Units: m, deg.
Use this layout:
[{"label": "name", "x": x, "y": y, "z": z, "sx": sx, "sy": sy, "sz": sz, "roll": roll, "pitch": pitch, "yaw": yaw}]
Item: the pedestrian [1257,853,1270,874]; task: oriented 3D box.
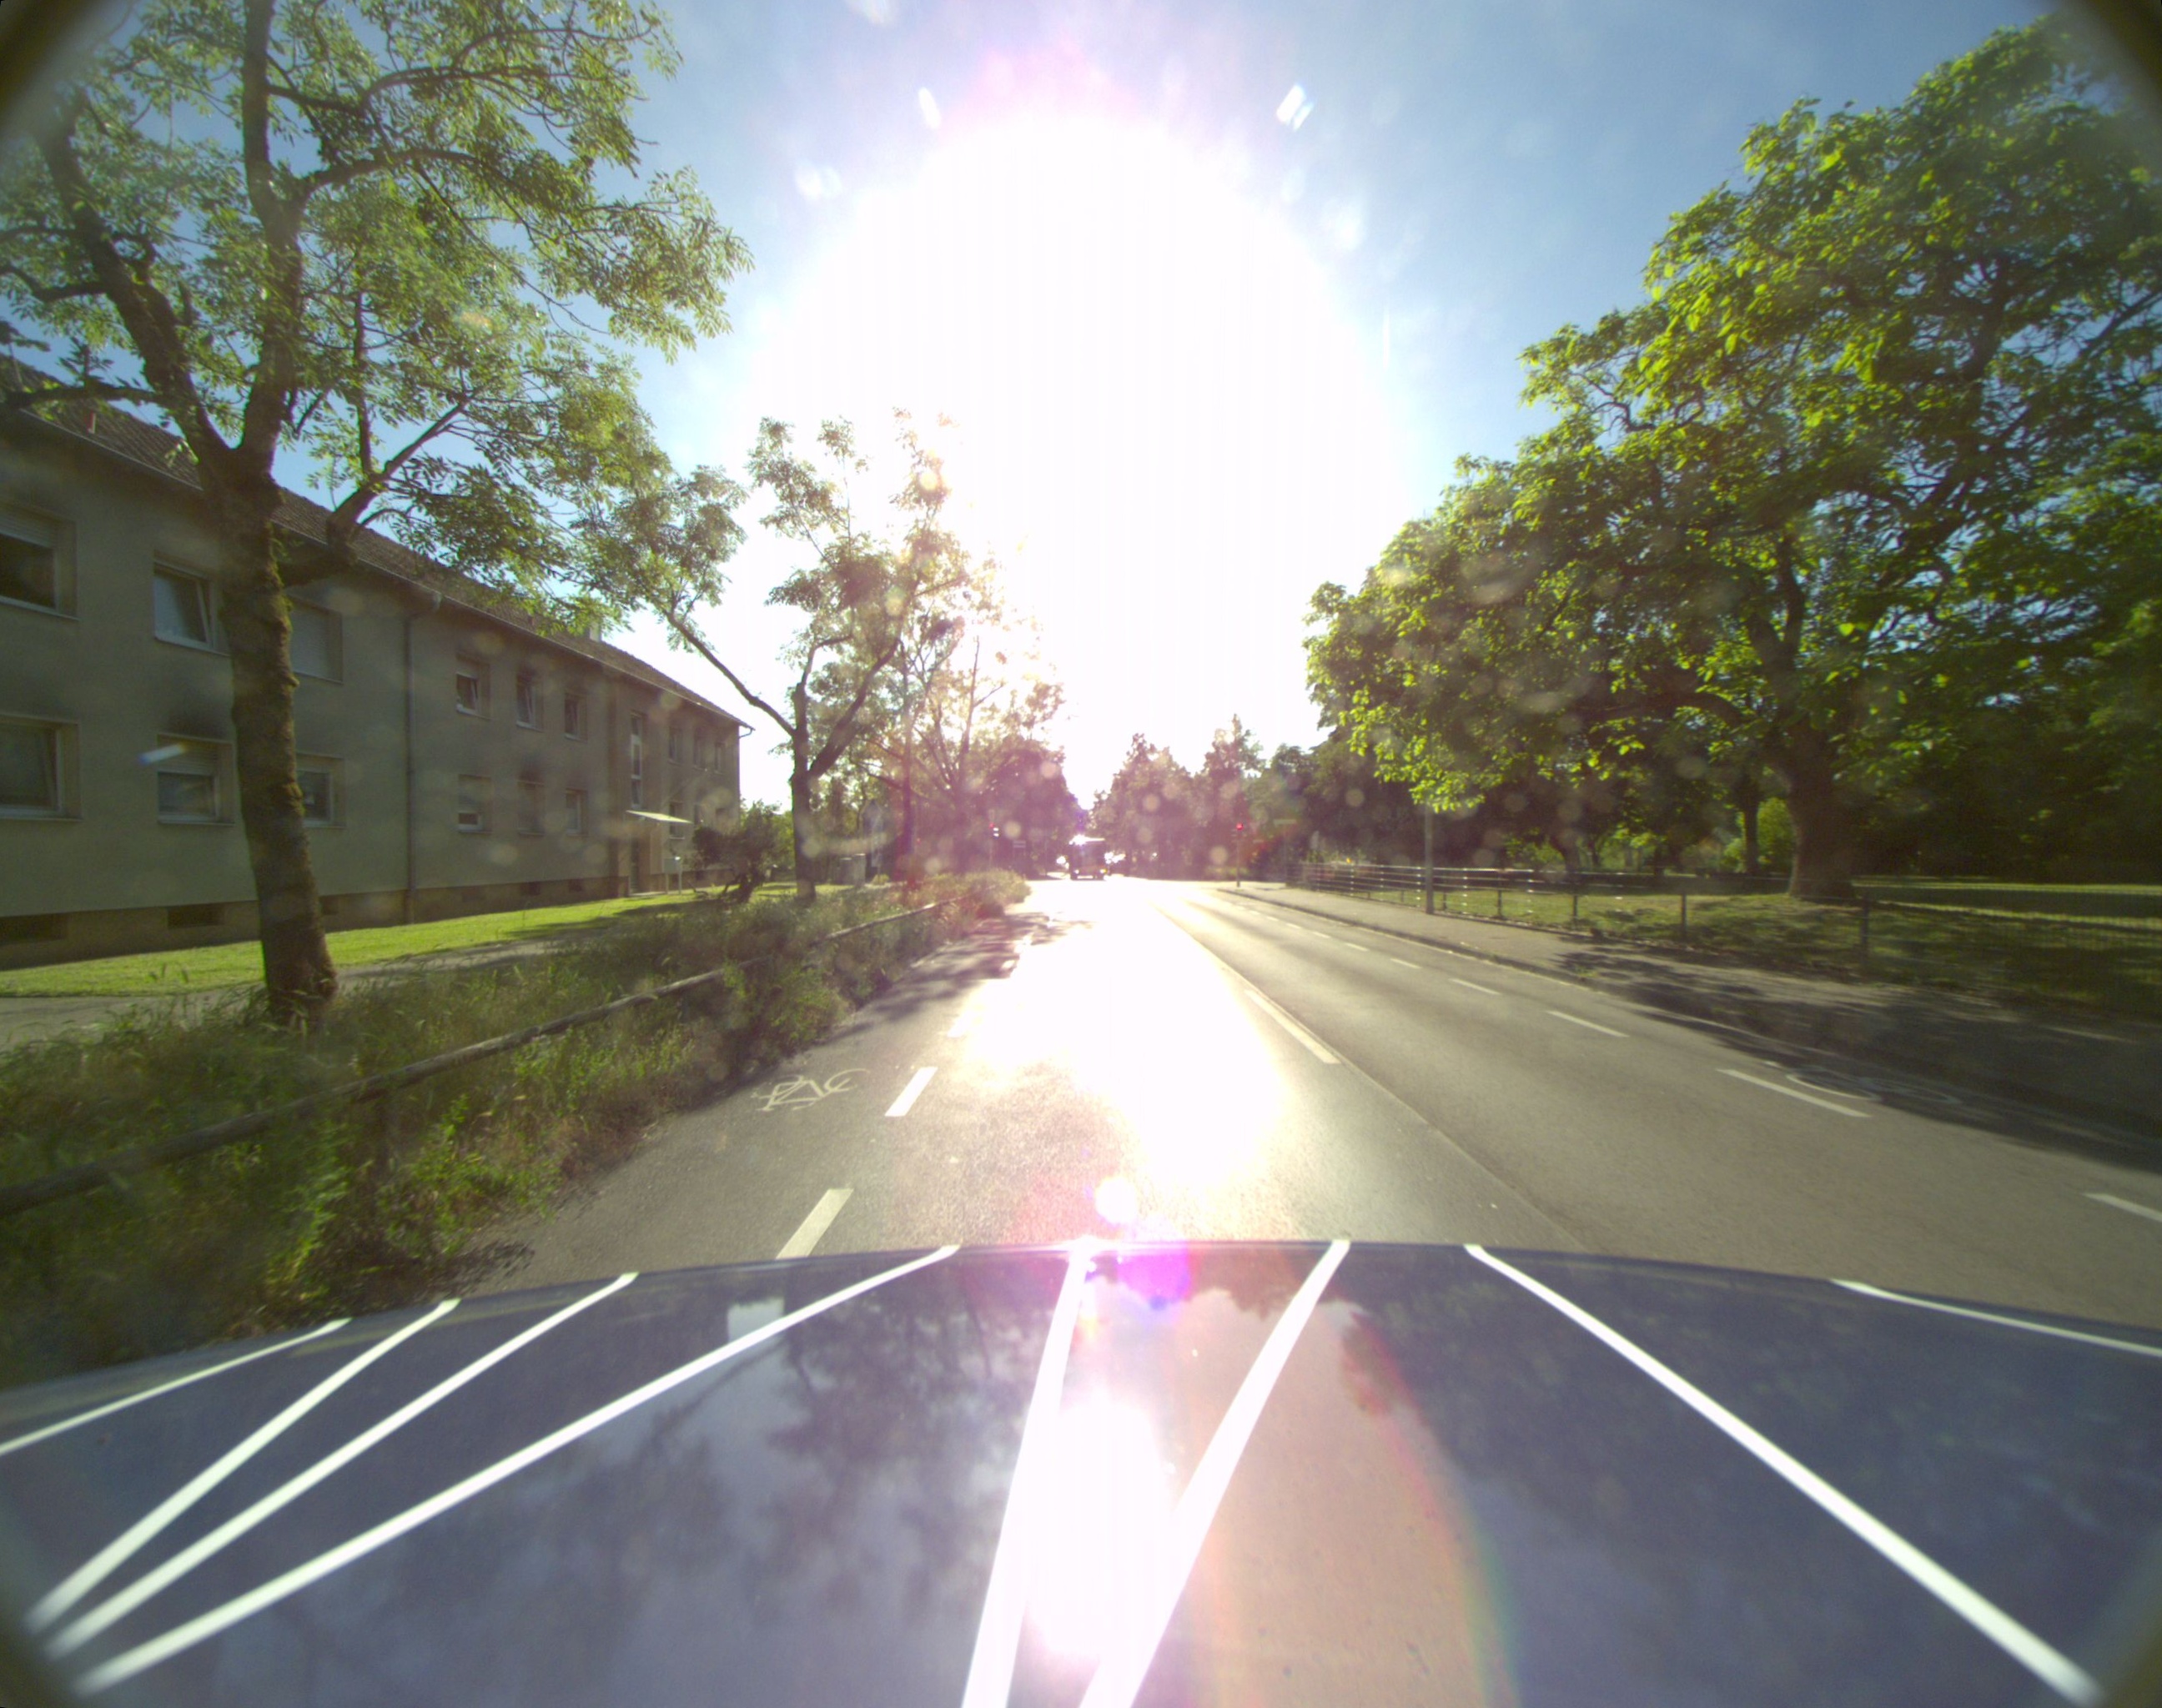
[{"label": "pedestrian", "x": 14.094, "y": 0.731, "z": 58.767, "sx": 0.800, "sy": 1.624, "sz": 0.647, "roll": -2, "pitch": 0, "yaw": 1}]

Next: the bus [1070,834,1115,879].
[{"label": "bus", "x": 0.945, "y": 0.240, "z": 60.349, "sx": 3.128, "sy": 3.080, "sz": 12.481, "roll": -2, "pitch": -1, "yaw": 1}]

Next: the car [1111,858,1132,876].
[{"label": "car", "x": 3.732, "y": 1.179, "z": 71.045, "sx": 1.819, "sy": 1.608, "sz": 4.392, "roll": 0, "pitch": 0, "yaw": 1}]
